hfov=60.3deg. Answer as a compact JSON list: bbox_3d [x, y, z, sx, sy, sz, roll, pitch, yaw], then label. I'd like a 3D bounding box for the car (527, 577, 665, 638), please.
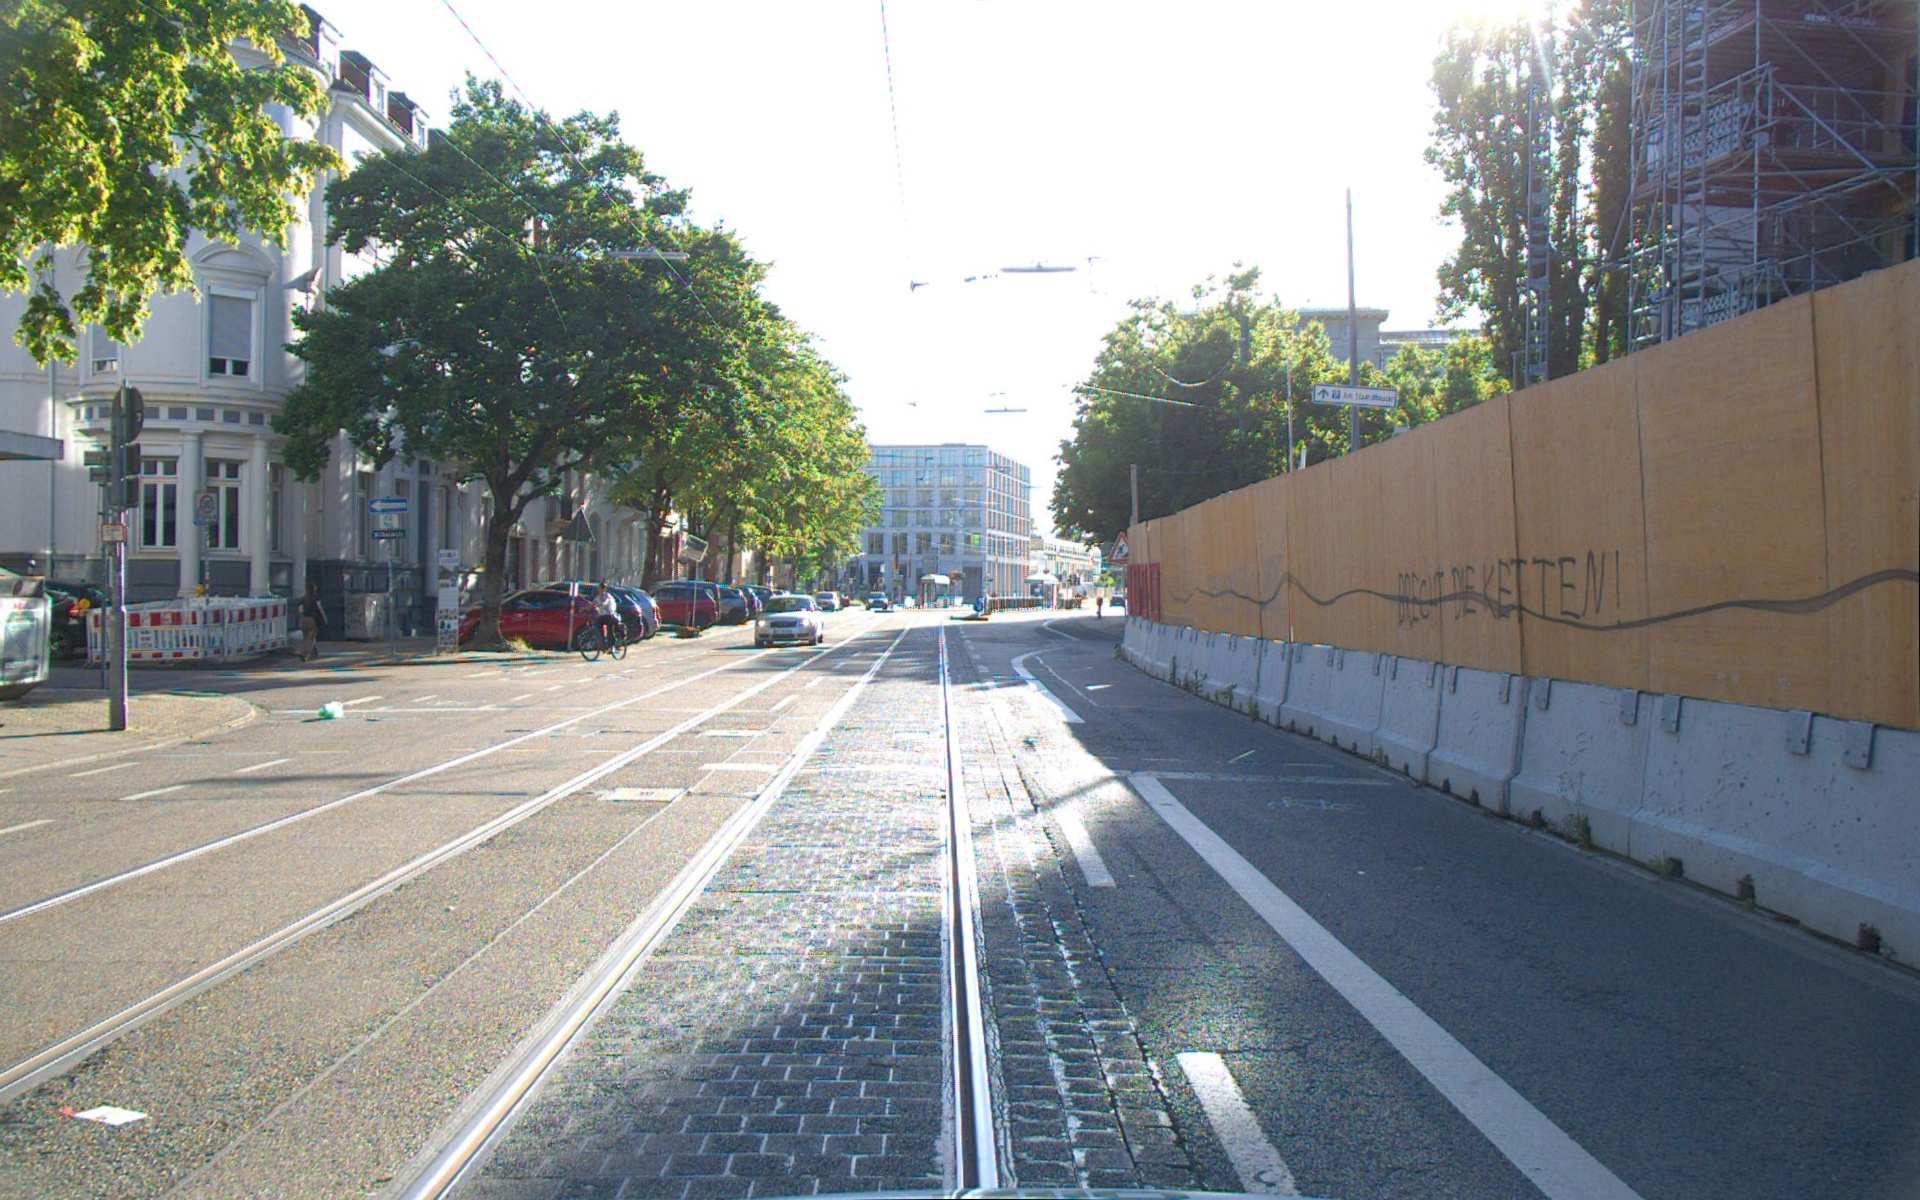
[{"bbox_3d":[-10.681,0.210,48.640,3.645,1.751,1.591,0,0,-36],"label":"car"}]

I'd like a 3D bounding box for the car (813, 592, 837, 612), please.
[{"bbox_3d":[-10.409,0.128,127.858,1.540,1.516,4.000,1,0,0],"label":"car"}]

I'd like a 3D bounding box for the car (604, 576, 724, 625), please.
[{"bbox_3d":[-11.013,0.034,61.568,4.112,1.751,1.569,1,0,-28],"label":"car"}]

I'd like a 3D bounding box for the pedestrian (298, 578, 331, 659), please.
[{"bbox_3d":[-12.998,0.367,33.320,0.338,1.600,0.511,0,0,27],"label":"pedestrian"}]

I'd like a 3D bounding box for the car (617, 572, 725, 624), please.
[{"bbox_3d":[-11.291,-0.070,64.632,3.789,1.864,1.714,3,-1,-31],"label":"car"}]

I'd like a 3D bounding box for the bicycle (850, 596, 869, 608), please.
[{"bbox_3d":[-9.834,0.192,162.148,1.760,1.245,0.598,1,0,-9],"label":"bicycle"}]

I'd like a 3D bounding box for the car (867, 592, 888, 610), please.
[{"bbox_3d":[-7.459,0.066,149.944,1.525,1.557,4.002,1,0,3],"label":"car"}]

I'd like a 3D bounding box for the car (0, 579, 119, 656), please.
[{"bbox_3d":[-18.589,0.331,32.713,3.171,1.468,1.476,1,0,4],"label":"car"}]

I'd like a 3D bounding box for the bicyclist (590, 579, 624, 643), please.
[{"bbox_3d":[-7.832,0.242,36.691,0.448,1.402,0.640,1,0,23],"label":"bicyclist"}]

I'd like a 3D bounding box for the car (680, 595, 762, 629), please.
[{"bbox_3d":[-10.687,0.540,74.023,3.335,1.444,1.392,1,0,-29],"label":"car"}]

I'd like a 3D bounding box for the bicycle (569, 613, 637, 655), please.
[{"bbox_3d":[-7.887,0.740,36.610,0.440,0.896,1.900,1,0,23],"label":"bicycle"}]

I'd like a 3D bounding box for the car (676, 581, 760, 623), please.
[{"bbox_3d":[-10.432,0.099,71.407,3.335,1.727,1.392,1,0,-29],"label":"car"}]

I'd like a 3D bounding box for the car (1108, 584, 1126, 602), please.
[{"bbox_3d":[18.120,-0.839,190.925,1.951,2.049,4.003,0,0,6],"label":"car"}]

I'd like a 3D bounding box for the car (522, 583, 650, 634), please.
[{"bbox_3d":[-11.653,0.261,51.650,3.645,1.554,1.465,0,0,-36],"label":"car"}]

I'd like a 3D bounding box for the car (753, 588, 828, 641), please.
[{"bbox_3d":[-4.838,0.384,47.653,1.674,1.461,4.171,1,0,0],"label":"car"}]

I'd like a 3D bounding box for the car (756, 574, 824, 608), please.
[{"bbox_3d":[-8.786,-0.455,85.304,3.227,1.728,1.460,1,0,-23],"label":"car"}]

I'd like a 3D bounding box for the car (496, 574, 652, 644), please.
[{"bbox_3d":[-10.059,0.216,43.157,3.645,1.751,1.591,0,0,-36],"label":"car"}]

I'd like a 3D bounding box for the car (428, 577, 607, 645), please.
[{"bbox_3d":[-10.707,0.278,40.115,3.867,1.478,1.619,3,-1,-35],"label":"car"}]
